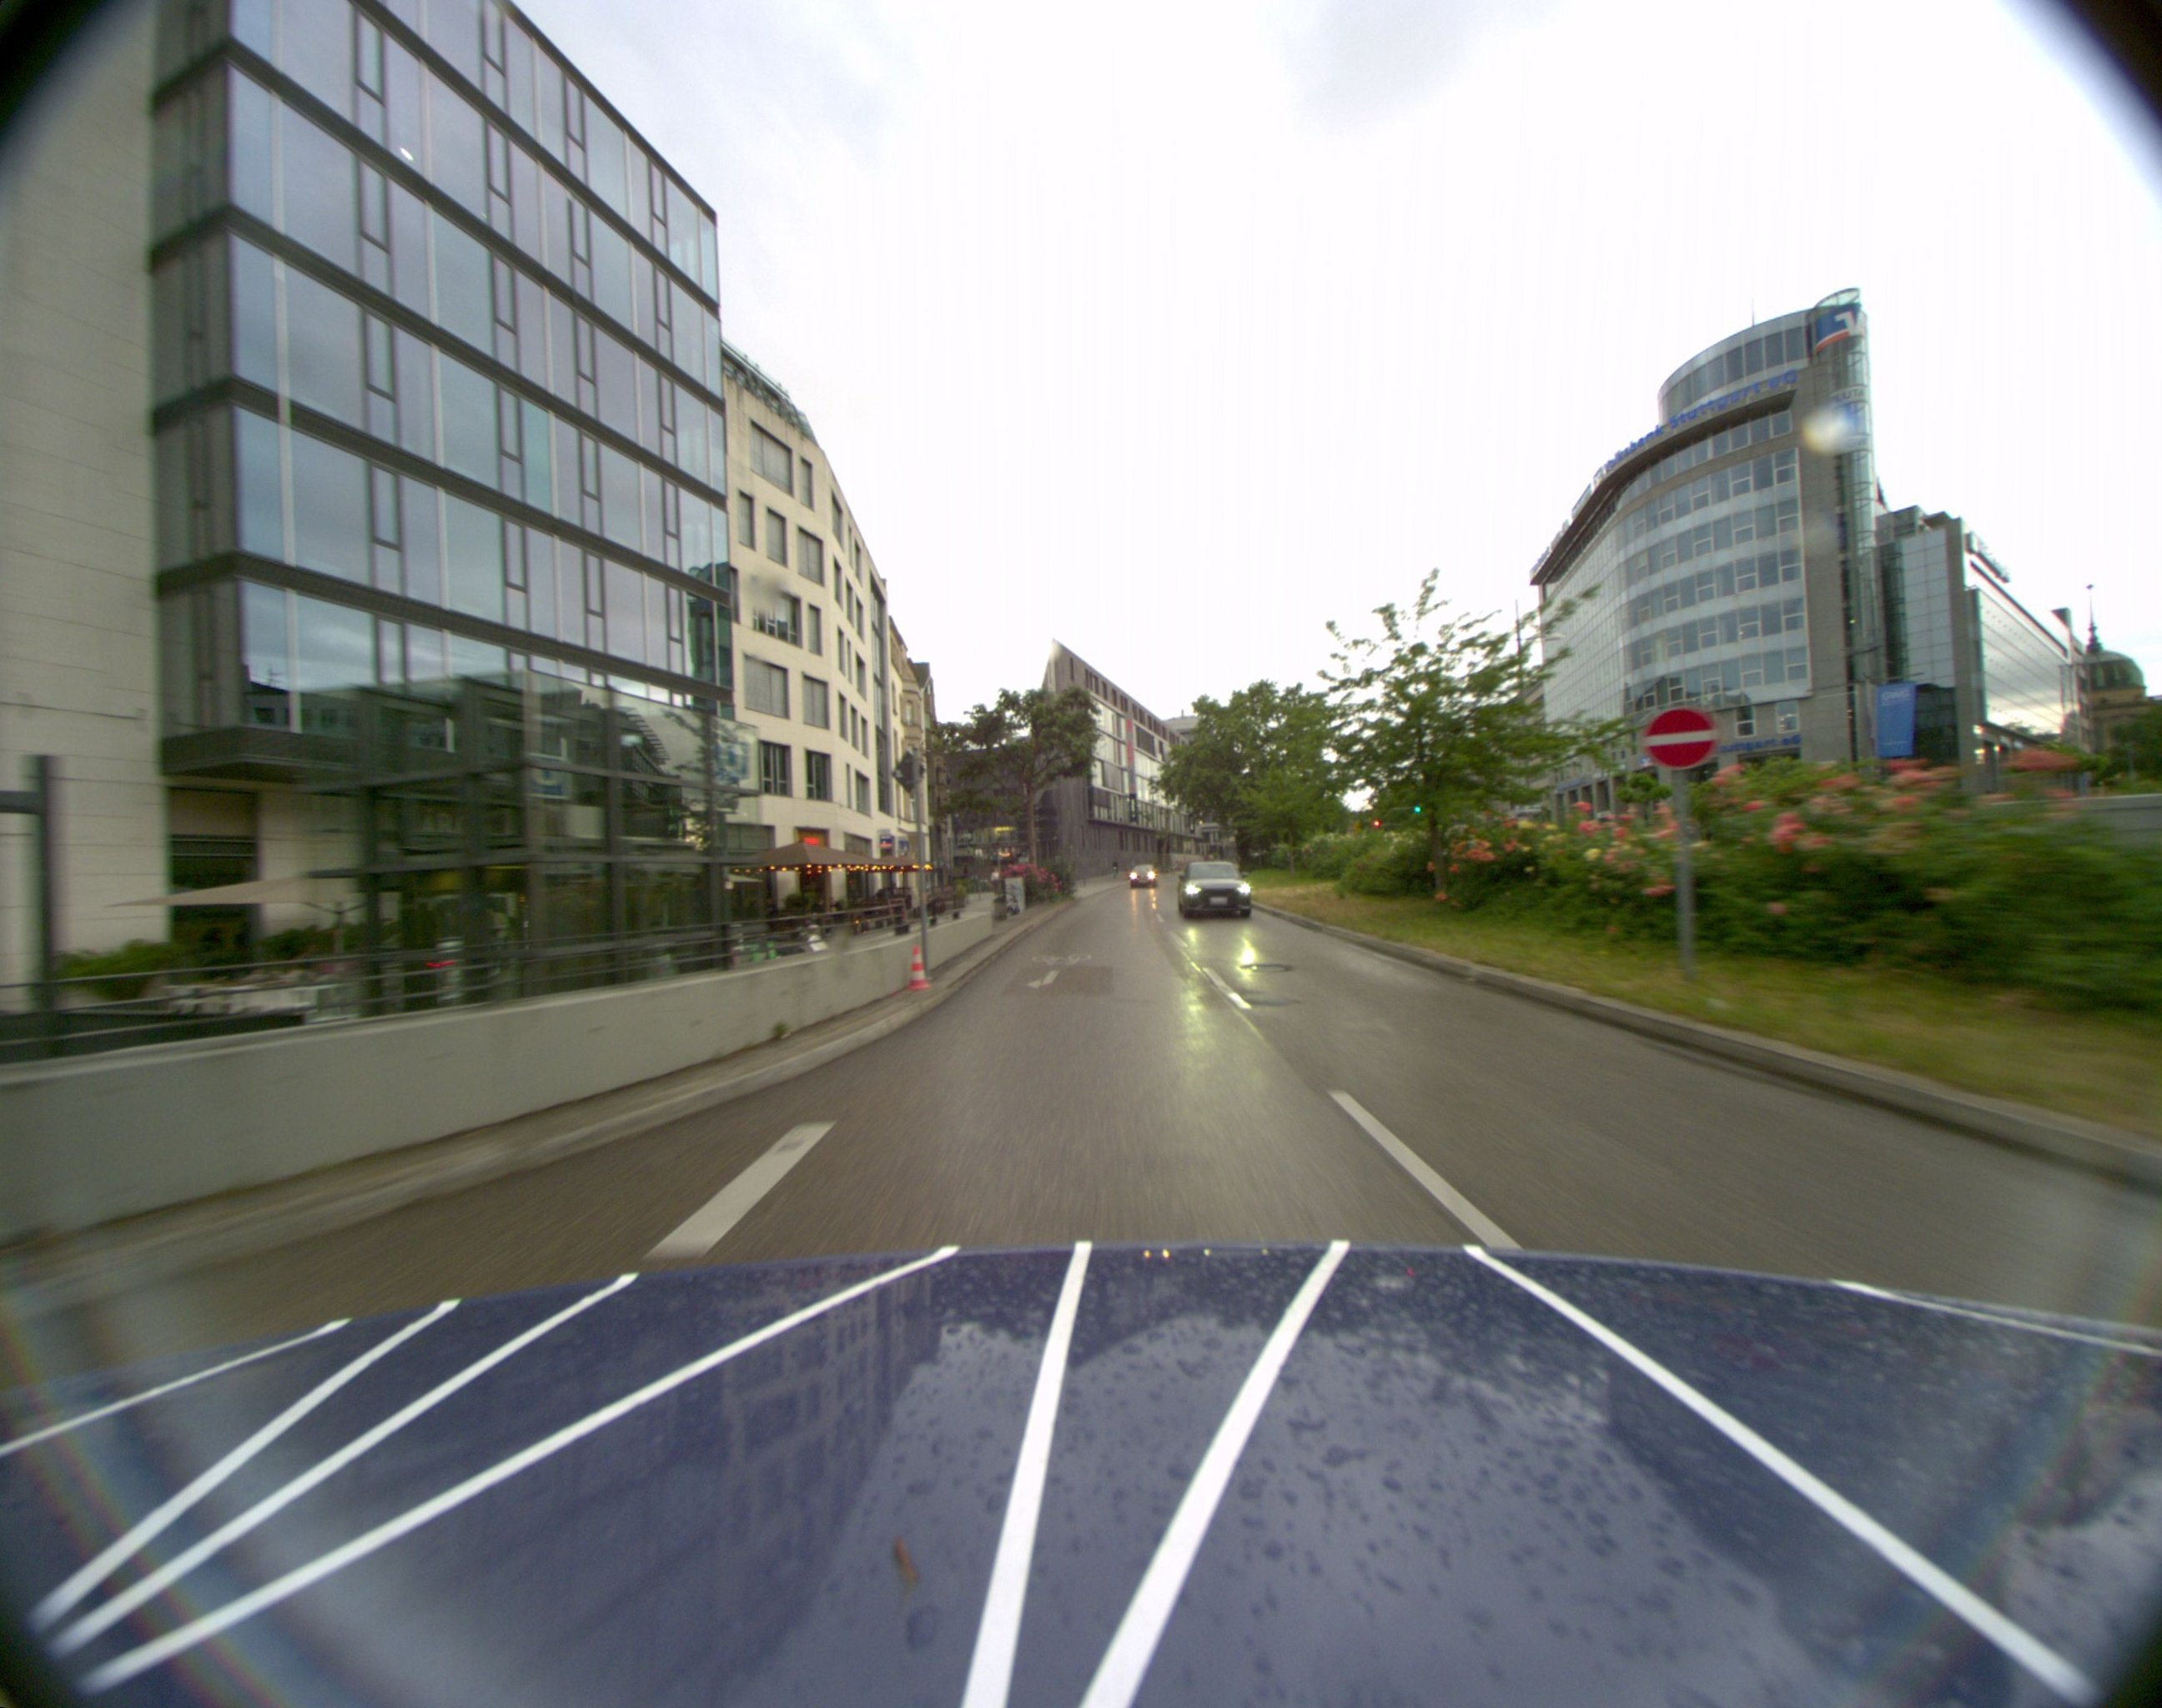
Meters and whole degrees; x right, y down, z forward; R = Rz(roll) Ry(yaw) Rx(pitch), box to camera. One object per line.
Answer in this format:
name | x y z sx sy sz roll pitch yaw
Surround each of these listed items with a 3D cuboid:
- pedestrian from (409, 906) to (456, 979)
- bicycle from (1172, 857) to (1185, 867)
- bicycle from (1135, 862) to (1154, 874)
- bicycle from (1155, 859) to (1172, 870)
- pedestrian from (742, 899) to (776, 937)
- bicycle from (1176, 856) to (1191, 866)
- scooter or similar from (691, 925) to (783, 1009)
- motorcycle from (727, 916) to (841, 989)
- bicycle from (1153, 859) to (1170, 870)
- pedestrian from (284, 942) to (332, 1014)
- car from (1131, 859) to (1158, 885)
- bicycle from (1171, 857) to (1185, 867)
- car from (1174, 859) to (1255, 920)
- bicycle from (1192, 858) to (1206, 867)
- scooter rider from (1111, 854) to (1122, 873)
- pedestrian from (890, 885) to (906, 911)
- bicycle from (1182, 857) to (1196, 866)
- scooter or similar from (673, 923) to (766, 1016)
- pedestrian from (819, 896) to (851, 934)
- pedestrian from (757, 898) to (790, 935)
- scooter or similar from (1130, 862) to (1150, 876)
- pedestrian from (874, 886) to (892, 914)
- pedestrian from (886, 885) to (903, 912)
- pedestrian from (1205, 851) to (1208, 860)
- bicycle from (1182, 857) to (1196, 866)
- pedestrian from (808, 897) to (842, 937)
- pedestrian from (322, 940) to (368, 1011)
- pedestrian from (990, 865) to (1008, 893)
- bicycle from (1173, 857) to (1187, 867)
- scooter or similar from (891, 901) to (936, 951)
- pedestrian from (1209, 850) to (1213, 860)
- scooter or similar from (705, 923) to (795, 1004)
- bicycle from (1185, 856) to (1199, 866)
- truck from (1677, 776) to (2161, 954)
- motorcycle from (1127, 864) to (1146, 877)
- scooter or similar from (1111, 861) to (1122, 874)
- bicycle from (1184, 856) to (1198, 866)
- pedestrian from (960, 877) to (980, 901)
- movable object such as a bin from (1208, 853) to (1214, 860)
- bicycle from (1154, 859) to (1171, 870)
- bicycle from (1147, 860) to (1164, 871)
pedestrian | -17.509 2.380 20.518 0.641 1.883 0.586 -3 1 9
bicycle | 12.069 0.973 94.097 1.536 1.134 0.690 -3 1 14
bicycle | 6.648 1.430 79.879 1.797 1.101 0.670 -5 1 15
bicycle | 9.464 1.182 87.188 1.797 1.062 0.557 -5 1 16
pedestrian | -12.088 2.415 28.540 0.818 1.318 0.636 -6 0 16
bicycle | 12.741 0.927 94.713 1.708 1.134 0.690 -3 1 14
scooter or similar | -5.222 1.710 11.552 1.115 1.151 0.443 -4 0 2
motorcycle | -5.415 1.785 13.908 1.781 1.151 0.607 -4 0 2
bicycle | 9.112 1.227 85.862 1.797 1.062 0.557 -5 1 16
pedestrian | -15.913 2.548 15.643 0.435 1.395 0.479 -2 1 19
car | 4.102 1.144 49.299 1.594 1.501 3.710 -3 0 4
bicycle | 11.801 1.010 92.555 1.536 1.134 0.663 -3 1 14
car | 3.841 0.969 22.522 1.865 1.508 4.347 -3 0 4
bicycle | 15.855 1.174 101.973 1.732 1.176 0.690 -2 0 14
scooter rider | 3.840 1.035 82.586 0.778 2.009 0.925 -3 0 24
pedestrian | -9.707 2.327 40.328 0.628 1.318 0.635 -6 0 -4
bicycle | 13.850 0.959 97.604 1.732 1.133 0.690 -2 0 14
scooter or similar | -5.274 1.678 11.108 1.115 1.229 0.365 -4 0 2
pedestrian | -9.180 2.273 28.379 0.818 1.318 0.636 -6 0 16
pedestrian | -11.840 2.406 29.265 0.818 1.318 0.636 -6 0 16
scooter or similar | 6.016 1.559 77.645 1.795 1.236 0.596 -5 1 15
pedestrian | -9.869 2.302 37.950 0.628 1.318 0.635 -6 0 -4
pedestrian | -9.702 2.320 39.461 0.628 1.318 0.635 -6 0 -4
pedestrian | 24.218 0.258 146.546 0.484 1.689 0.580 -1 1 19
bicycle | 14.042 0.957 98.486 1.732 1.133 0.690 -2 0 14
pedestrian | -9.263 2.281 27.501 0.818 1.318 0.636 -6 0 16
pedestrian | -15.351 2.519 15.861 0.435 1.395 0.479 -2 1 19
pedestrian | -5.711 1.712 52.946 0.873 1.827 1.250 -5 0 6
bicycle | 12.149 0.983 93.269 1.536 1.134 0.690 -3 1 14
scooter or similar | -4.630 1.980 21.007 1.093 1.264 0.481 -4 0 -8
pedestrian | 25.032 0.186 146.189 0.722 1.820 0.748 -1 1 19
scooter or similar | -5.254 1.733 12.083 1.115 1.151 0.532 -4 0 2
bicycle | 14.645 0.914 100.223 1.732 1.176 0.690 -2 0 14
truck | 16.273 0.118 15.019 3.373 2.495 8.482 -3 0 10
motorcycle | 5.602 1.657 76.729 1.795 1.133 0.596 -5 1 15
scooter or similar | 3.874 1.440 82.610 0.778 1.298 1.337 -3 0 24
bicycle | 14.332 0.930 99.298 1.732 1.176 0.690 -2 0 14
pedestrian | -6.366 2.006 43.626 0.775 1.318 0.636 -6 0 16
movable object such as a bin | 24.773 0.483 144.916 0.803 1.258 1.790 -1 1 19
bicycle | 9.275 1.195 86.516 1.797 1.062 0.557 -5 1 16
bicycle | 8.257 1.277 84.247 1.797 1.101 0.670 -5 1 15
